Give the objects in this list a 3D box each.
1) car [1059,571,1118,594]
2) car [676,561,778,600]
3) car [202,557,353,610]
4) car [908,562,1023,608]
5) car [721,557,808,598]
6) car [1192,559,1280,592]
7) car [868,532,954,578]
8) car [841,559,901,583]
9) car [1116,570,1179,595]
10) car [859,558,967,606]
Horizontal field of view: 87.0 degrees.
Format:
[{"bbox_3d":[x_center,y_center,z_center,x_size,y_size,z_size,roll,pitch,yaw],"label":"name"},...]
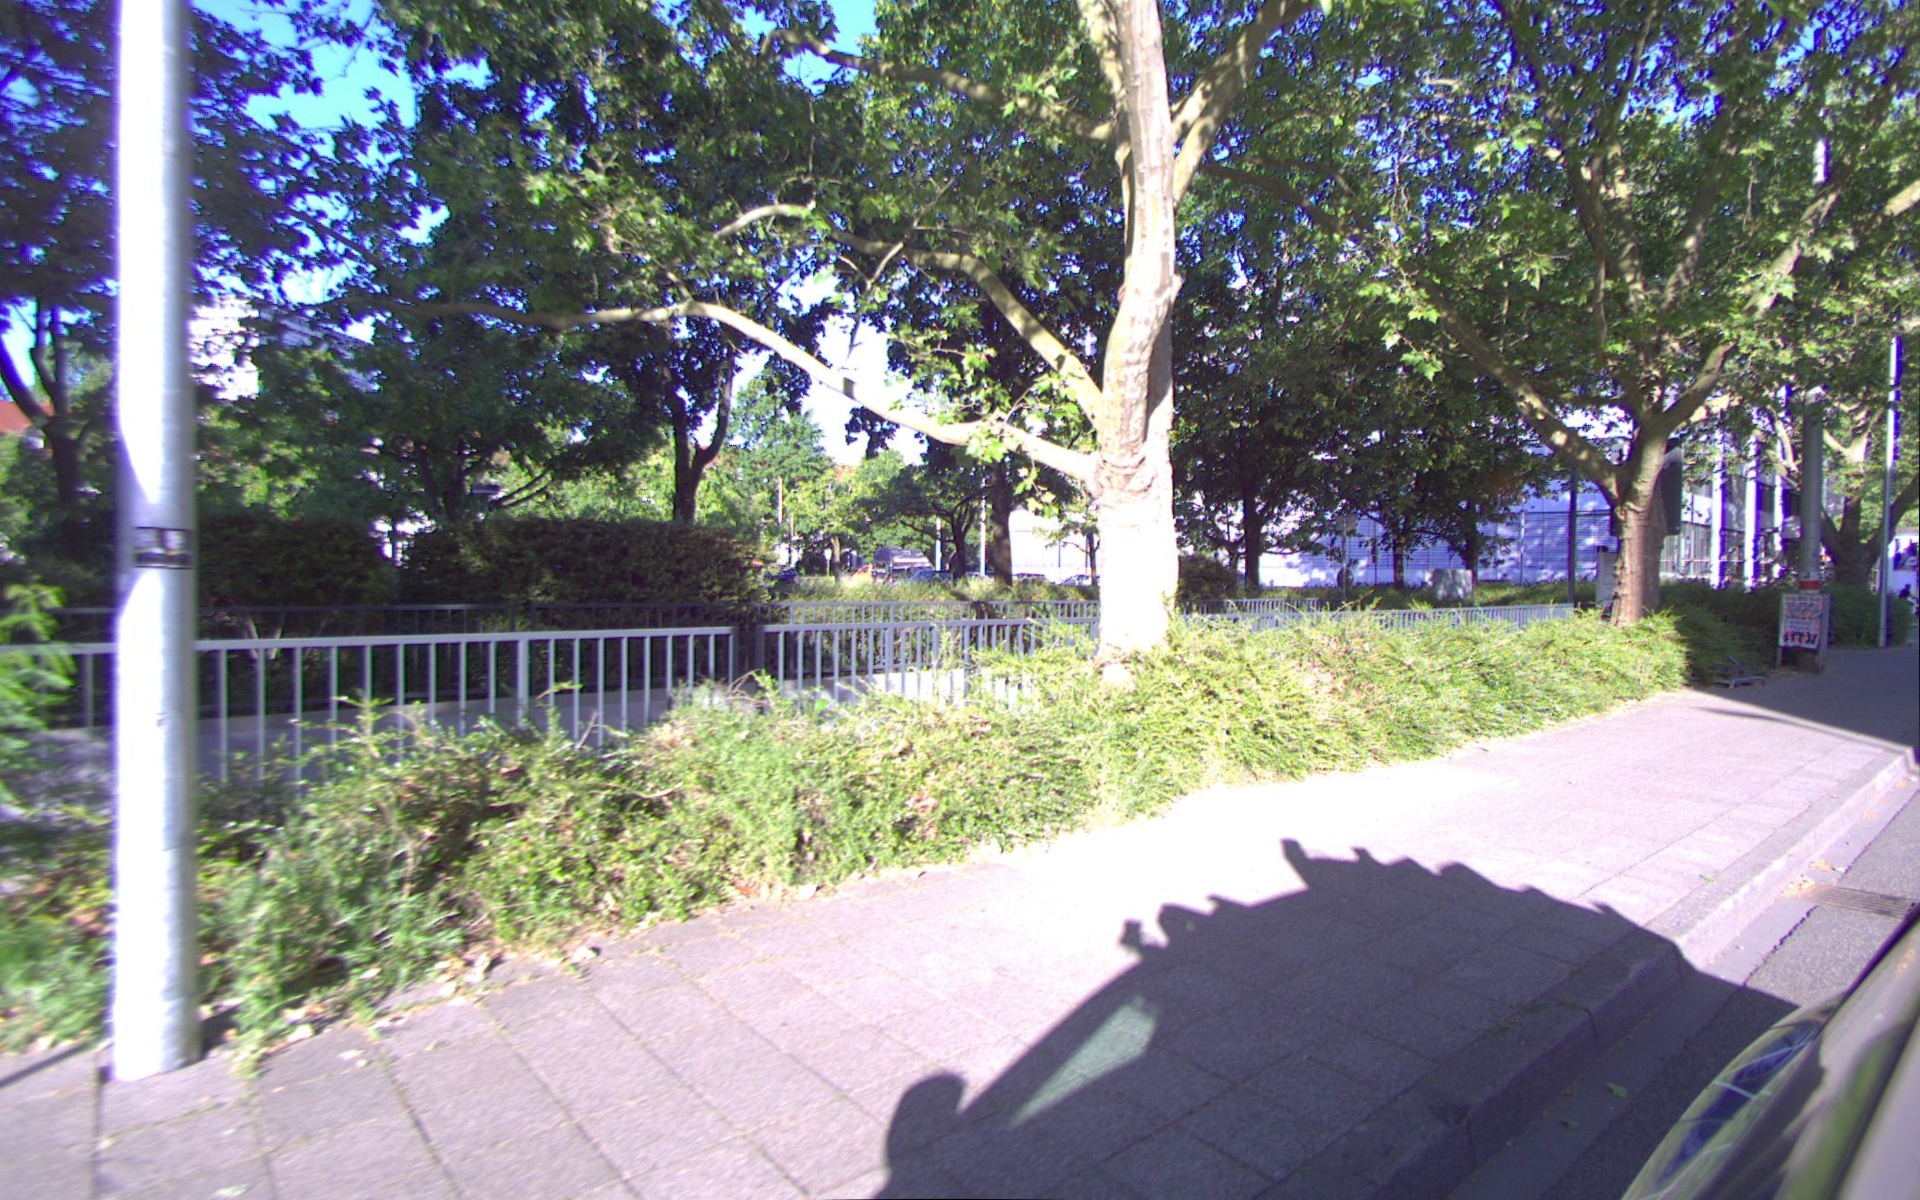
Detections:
[{"bbox_3d":[8.757,-1.211,69.099,1.603,1.503,3.843,0,2,-43],"label":"car"},{"bbox_3d":[-10.125,-0.822,44.148,3.930,1.647,1.921,0,0,-41],"label":"car"},{"bbox_3d":[-22.363,-0.522,33.240,3.930,1.647,1.921,0,0,-41],"label":"car"},{"bbox_3d":[0.255,-0.564,37.750,4.238,1.621,1.784,0,1,-43],"label":"car"},{"bbox_3d":[-10.338,-1.181,53.741,4.238,2.115,1.784,0,1,-43],"label":"car"},{"bbox_3d":[16.635,-1.494,61.183,2.074,1.851,4.711,0,2,-43],"label":"car"},{"bbox_3d":[-2.882,-2.637,60.344,5.072,2.605,1.996,0,1,-43],"label":"car"},{"bbox_3d":[-7.315,-2.406,83.105,4.891,1.808,2.061,4,4,40],"label":"car"},{"bbox_3d":[12.157,-1.161,65.811,1.603,1.503,3.843,0,2,-43],"label":"car"},{"bbox_3d":[-1.892,-0.726,41.197,4.238,1.834,1.784,0,1,-43],"label":"car"}]
